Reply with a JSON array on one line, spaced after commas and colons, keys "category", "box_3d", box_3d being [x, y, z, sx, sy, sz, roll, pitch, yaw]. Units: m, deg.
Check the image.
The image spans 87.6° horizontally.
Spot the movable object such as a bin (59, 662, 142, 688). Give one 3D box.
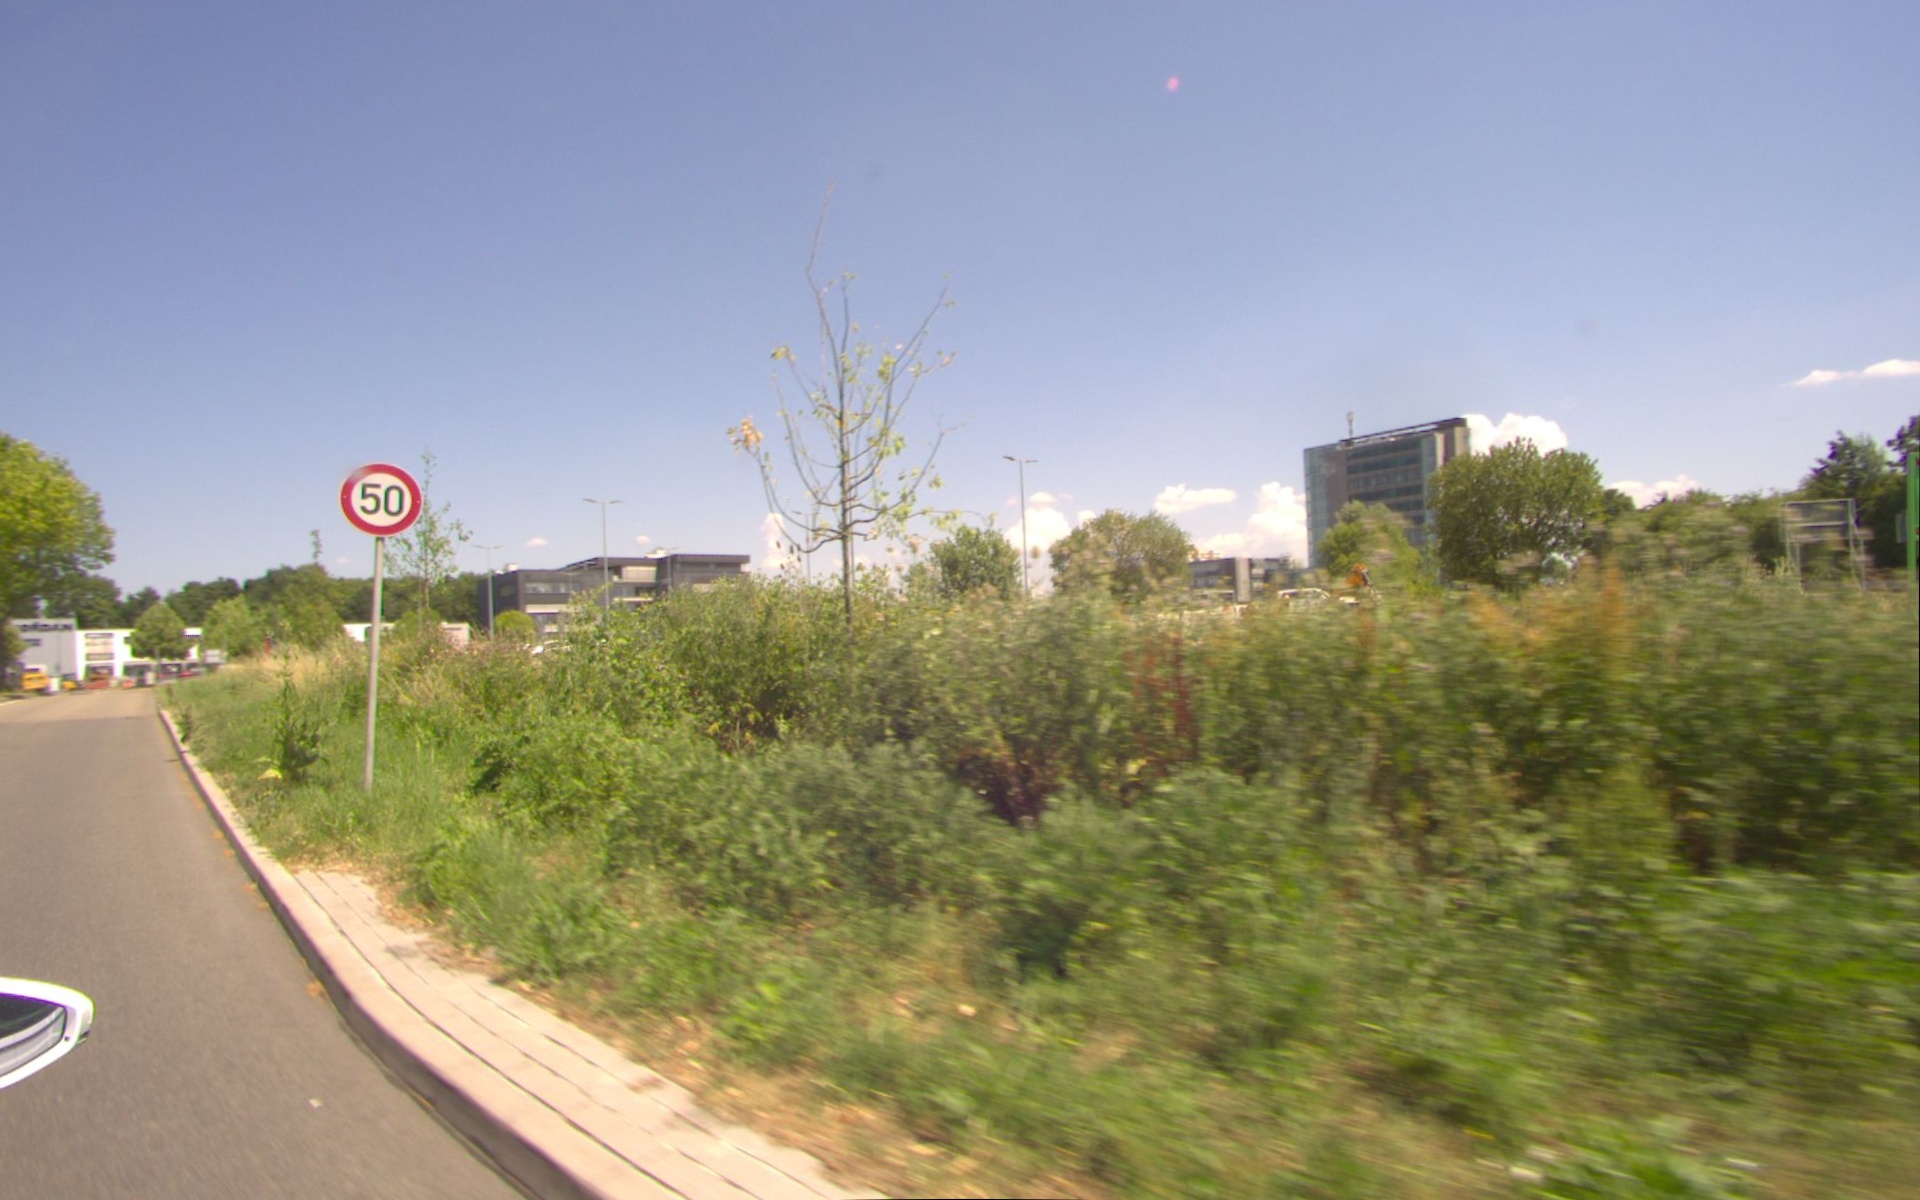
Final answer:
[{"category": "movable object such as a bin", "box_3d": [-110.105, 9.556, 128.461, 7.444, 2.534, 3.644, -2, 2, -32]}]

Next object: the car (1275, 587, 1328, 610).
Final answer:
[{"category": "car", "box_3d": [27.384, -0.106, 80.383, 3.930, 1.549, 1.873, -4, -1, 18]}]

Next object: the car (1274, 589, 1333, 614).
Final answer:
[{"category": "car", "box_3d": [24.962, 0.146, 72.860, 3.930, 1.549, 1.873, -4, -1, 18]}]

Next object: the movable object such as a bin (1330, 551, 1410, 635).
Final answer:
[{"category": "movable object such as a bin", "box_3d": [21.851, -0.428, 53.773, 2.933, 4.100, 8.091, -1, 1, 15]}]

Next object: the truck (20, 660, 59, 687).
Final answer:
[{"category": "truck", "box_3d": [-114.377, 9.102, 124.423, 5.744, 2.925, 2.922, 0, 2, 42]}]

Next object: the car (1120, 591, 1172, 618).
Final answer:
[{"category": "car", "box_3d": [13.027, 0.304, 69.905, 1.975, 1.662, 3.969, 0, 2, 38]}]
